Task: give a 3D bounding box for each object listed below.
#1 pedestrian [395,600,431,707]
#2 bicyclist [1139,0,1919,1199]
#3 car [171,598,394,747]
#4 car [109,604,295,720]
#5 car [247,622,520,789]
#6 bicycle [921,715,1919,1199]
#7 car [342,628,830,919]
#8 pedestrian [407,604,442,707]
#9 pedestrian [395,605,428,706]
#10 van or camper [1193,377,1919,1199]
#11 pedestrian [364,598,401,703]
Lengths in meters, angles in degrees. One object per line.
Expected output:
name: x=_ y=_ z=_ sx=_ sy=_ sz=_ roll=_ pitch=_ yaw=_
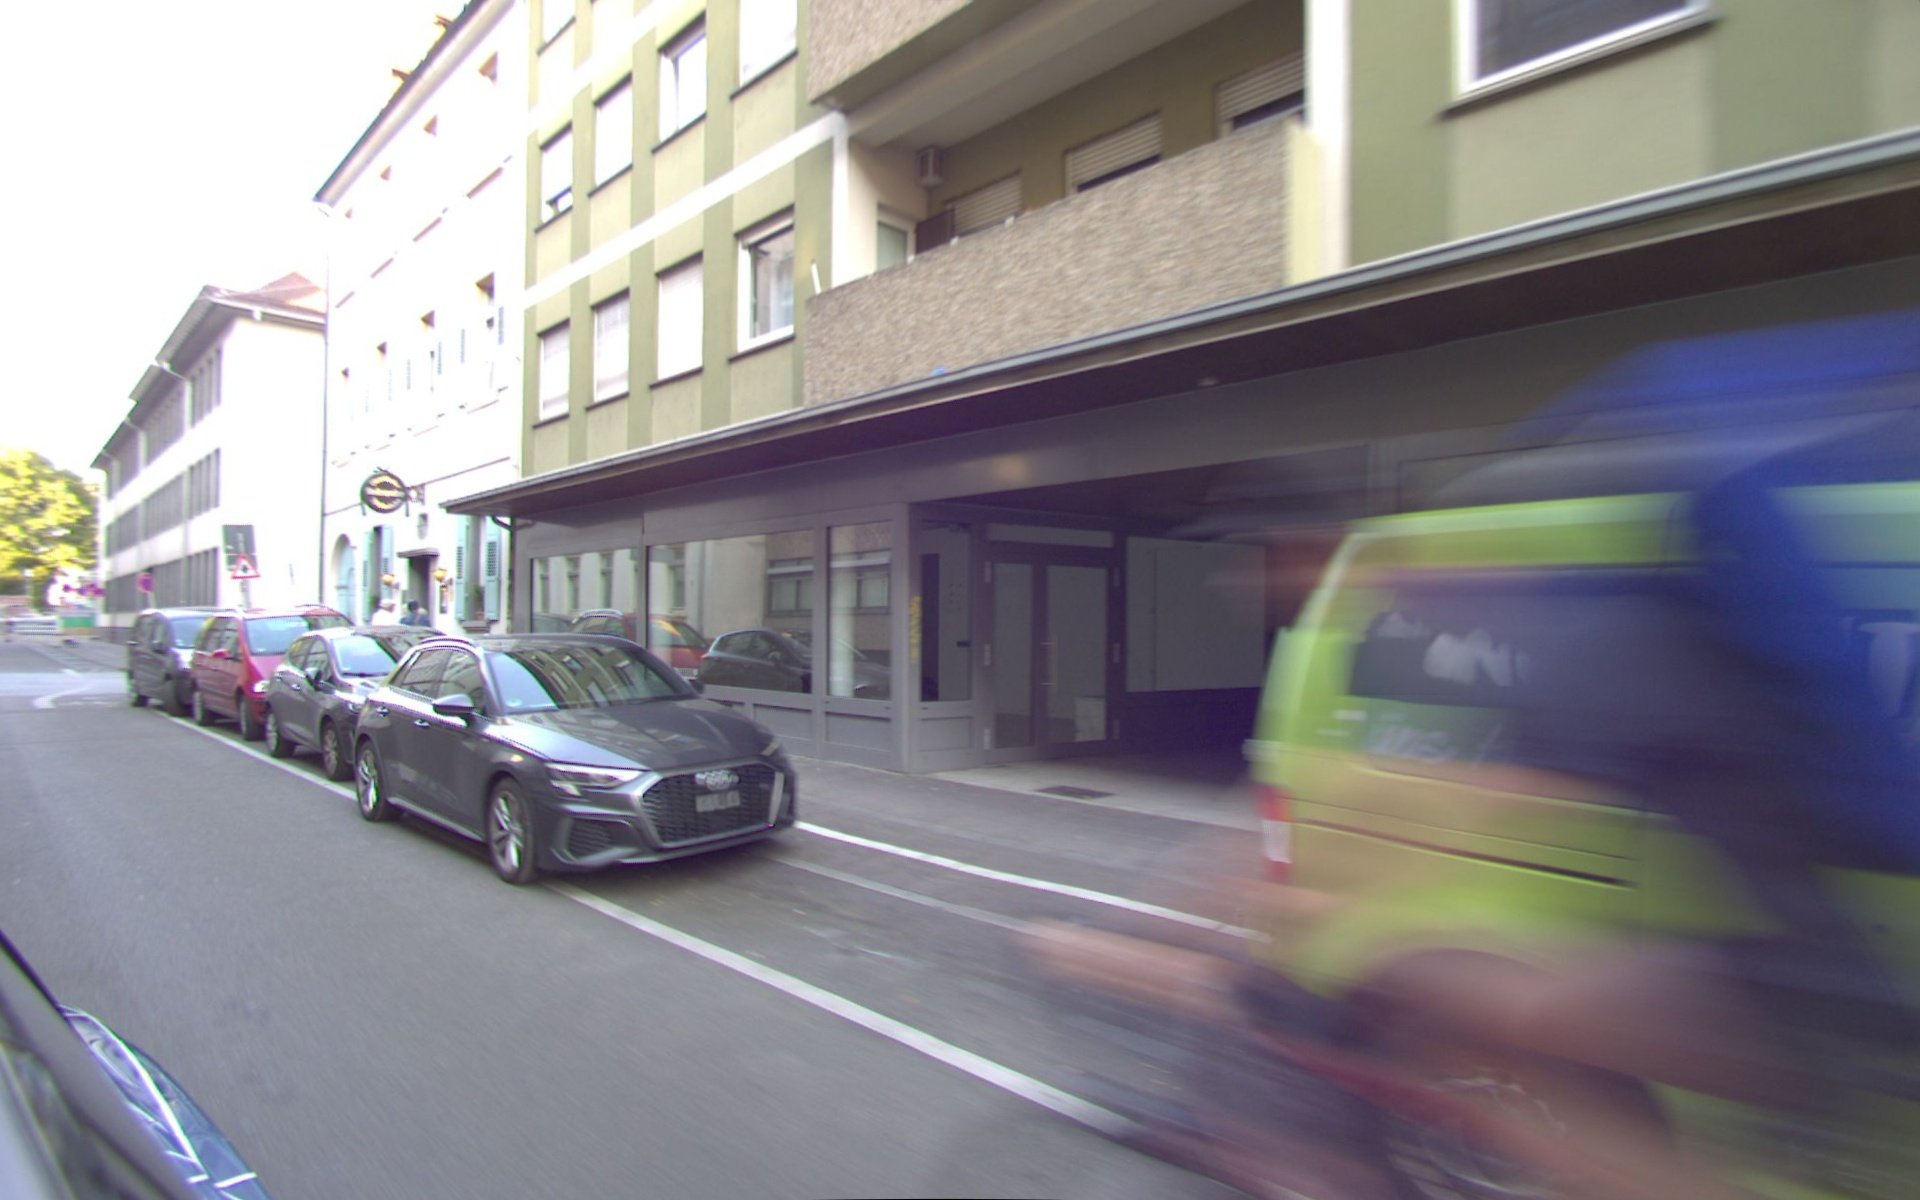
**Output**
pedestrian: x=-9.190 y=0.892 z=17.013 sx=0.401 sy=1.763 sz=0.470 roll=1 pitch=-2 yaw=-44
bicyclist: x=0.826 y=0.350 z=1.109 sx=0.616 sy=1.652 sz=1.082 roll=1 pitch=-2 yaw=-45
car: x=-9.921 y=0.943 z=14.669 sx=4.511 sy=1.825 sz=1.752 roll=-1 pitch=-2 yaw=44
car: x=-13.681 y=1.022 z=18.169 sx=4.450 sy=1.825 sz=1.857 roll=-1 pitch=-2 yaw=42
car: x=-6.385 y=1.002 z=11.031 sx=1.605 sy=1.496 sz=3.880 roll=3 pitch=-3 yaw=-45
bicycle: x=0.785 y=0.674 z=1.144 sx=0.626 sy=0.929 sz=1.780 roll=1 pitch=-2 yaw=-45
car: x=-2.792 y=0.924 z=7.049 sx=3.981 sy=1.426 sz=1.606 roll=-1 pitch=-1 yaw=44
pedestrian: x=-9.315 y=0.961 z=17.610 sx=0.401 sy=1.763 sz=0.470 roll=1 pitch=-2 yaw=-44
pedestrian: x=-9.742 y=0.967 z=17.974 sx=0.401 sy=1.763 sz=0.470 roll=1 pitch=-2 yaw=-44
van or camper: x=2.723 y=0.552 z=1.938 sx=1.751 sy=1.862 sz=4.181 roll=2 pitch=-3 yaw=-44
pedestrian: x=-9.955 y=0.861 z=17.441 sx=0.444 sy=1.763 sz=0.470 roll=1 pitch=-2 yaw=-44
